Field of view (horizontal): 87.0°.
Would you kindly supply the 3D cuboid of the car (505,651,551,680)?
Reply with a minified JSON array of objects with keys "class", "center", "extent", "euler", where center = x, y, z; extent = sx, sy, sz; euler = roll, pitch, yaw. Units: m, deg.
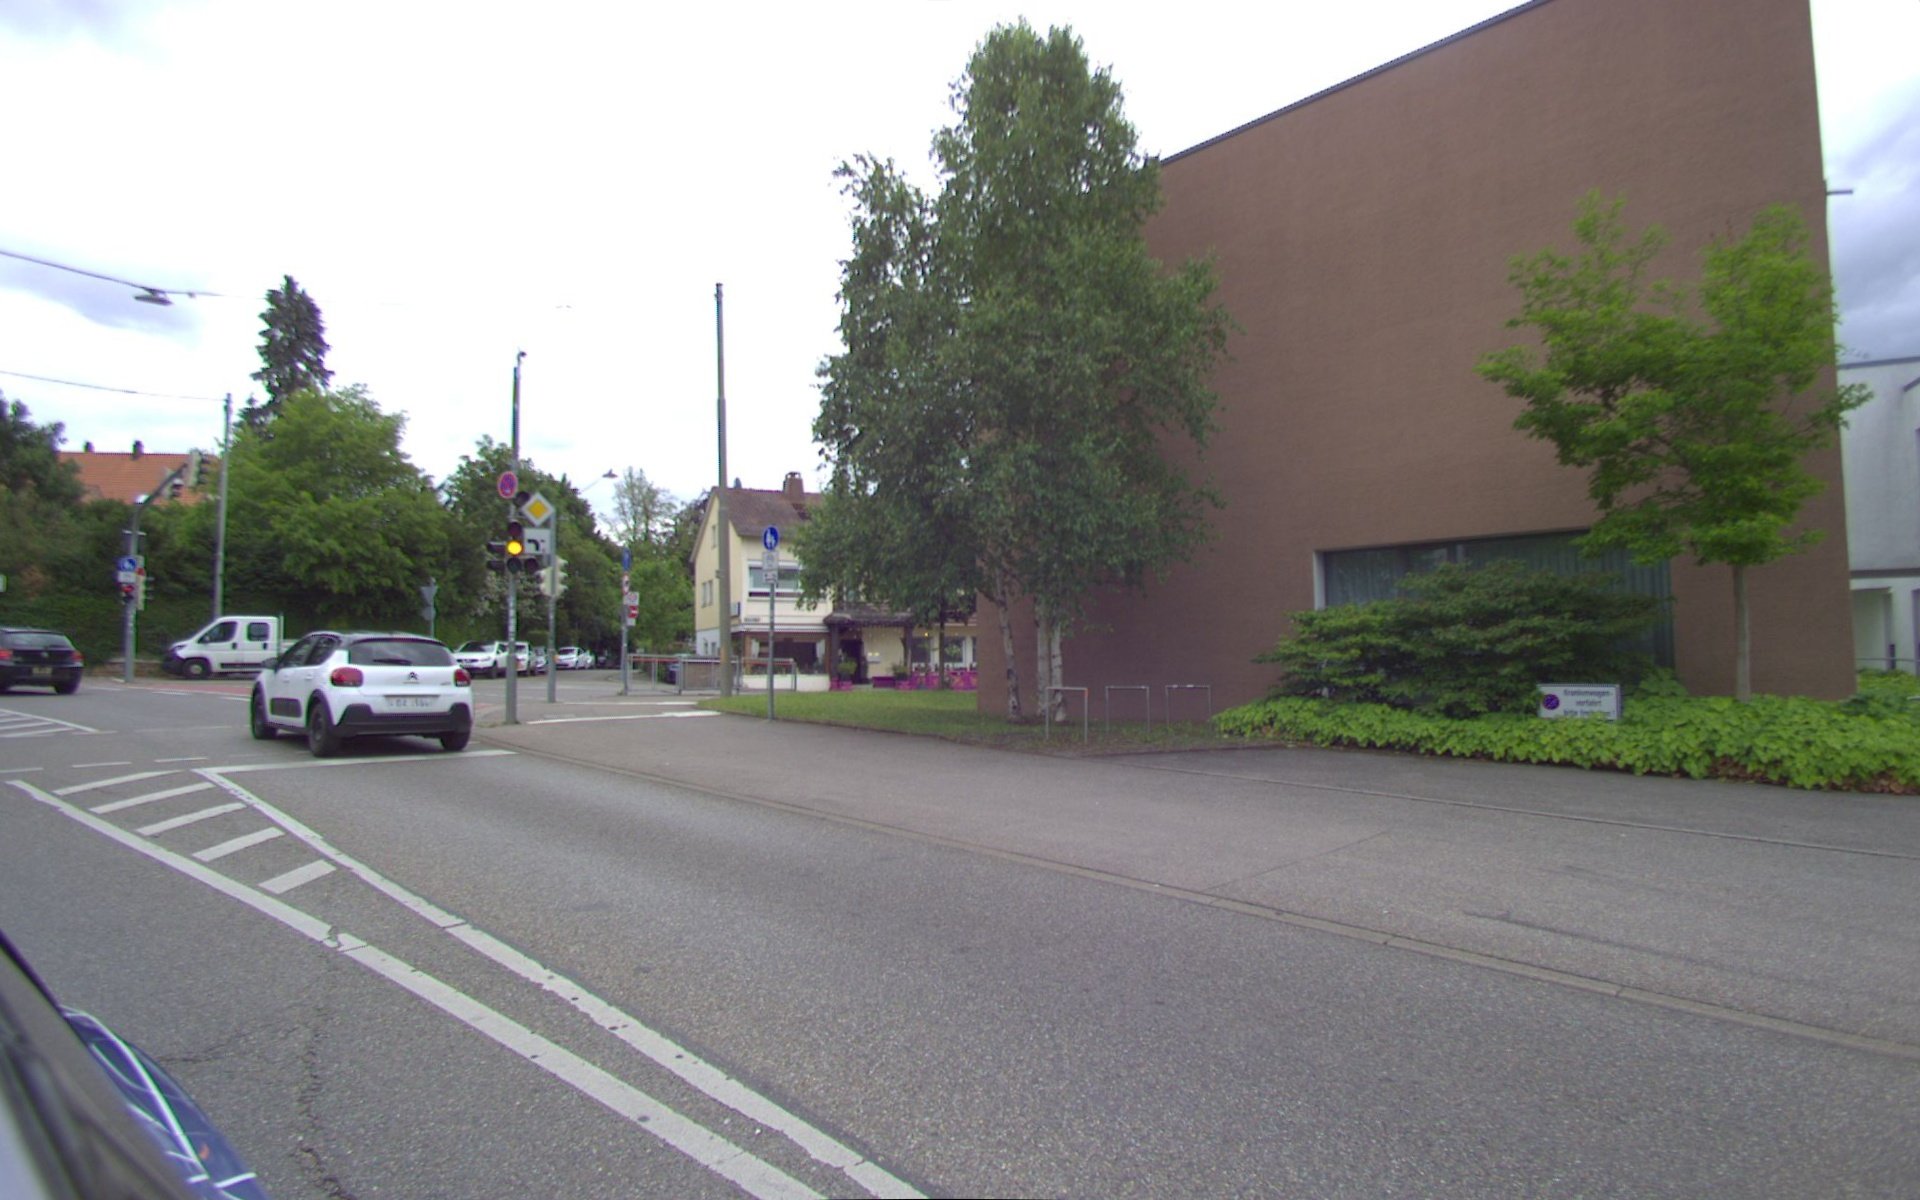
[{"class":"car","center":[-22.941,3.473,53.815],"extent":[1.840,1.464,3.742],"euler":[1,-3,-17]}]

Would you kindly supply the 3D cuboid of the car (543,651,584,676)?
[{"class":"car","center":[-26.736,4.262,68.323],"extent":[1.842,1.599,3.739],"euler":[1,-3,-11]}]

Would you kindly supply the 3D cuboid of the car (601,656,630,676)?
[{"class":"car","center":[-29.615,5.678,87.173],"extent":[1.842,1.599,3.739],"euler":[2,-3,-11]}]

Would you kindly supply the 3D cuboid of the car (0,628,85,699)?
[{"class":"car","center":[-20.595,1.309,21.487],"extent":[3.984,1.419,1.750],"euler":[-1,-4,29]}]

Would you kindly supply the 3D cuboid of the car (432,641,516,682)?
[{"class":"car","center":[-20.382,2.585,42.632],"extent":[1.969,1.625,4.006],"euler":[2,-4,-7]}]

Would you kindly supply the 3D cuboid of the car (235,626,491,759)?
[{"class":"car","center":[-7.684,1.112,12.898],"extent":[3.756,1.451,1.677],"euler":[-2,-6,42]}]

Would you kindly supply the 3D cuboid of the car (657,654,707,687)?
[{"class":"car","center":[-12.989,3.265,47.110],"extent":[1.848,1.460,4.012],"euler":[2,-4,-20]}]

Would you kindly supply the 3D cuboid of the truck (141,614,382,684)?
[{"class":"truck","center":[-24.131,1.746,35.321],"extent":[6.606,2.205,2.536],"euler":[4,-4,-34]}]
